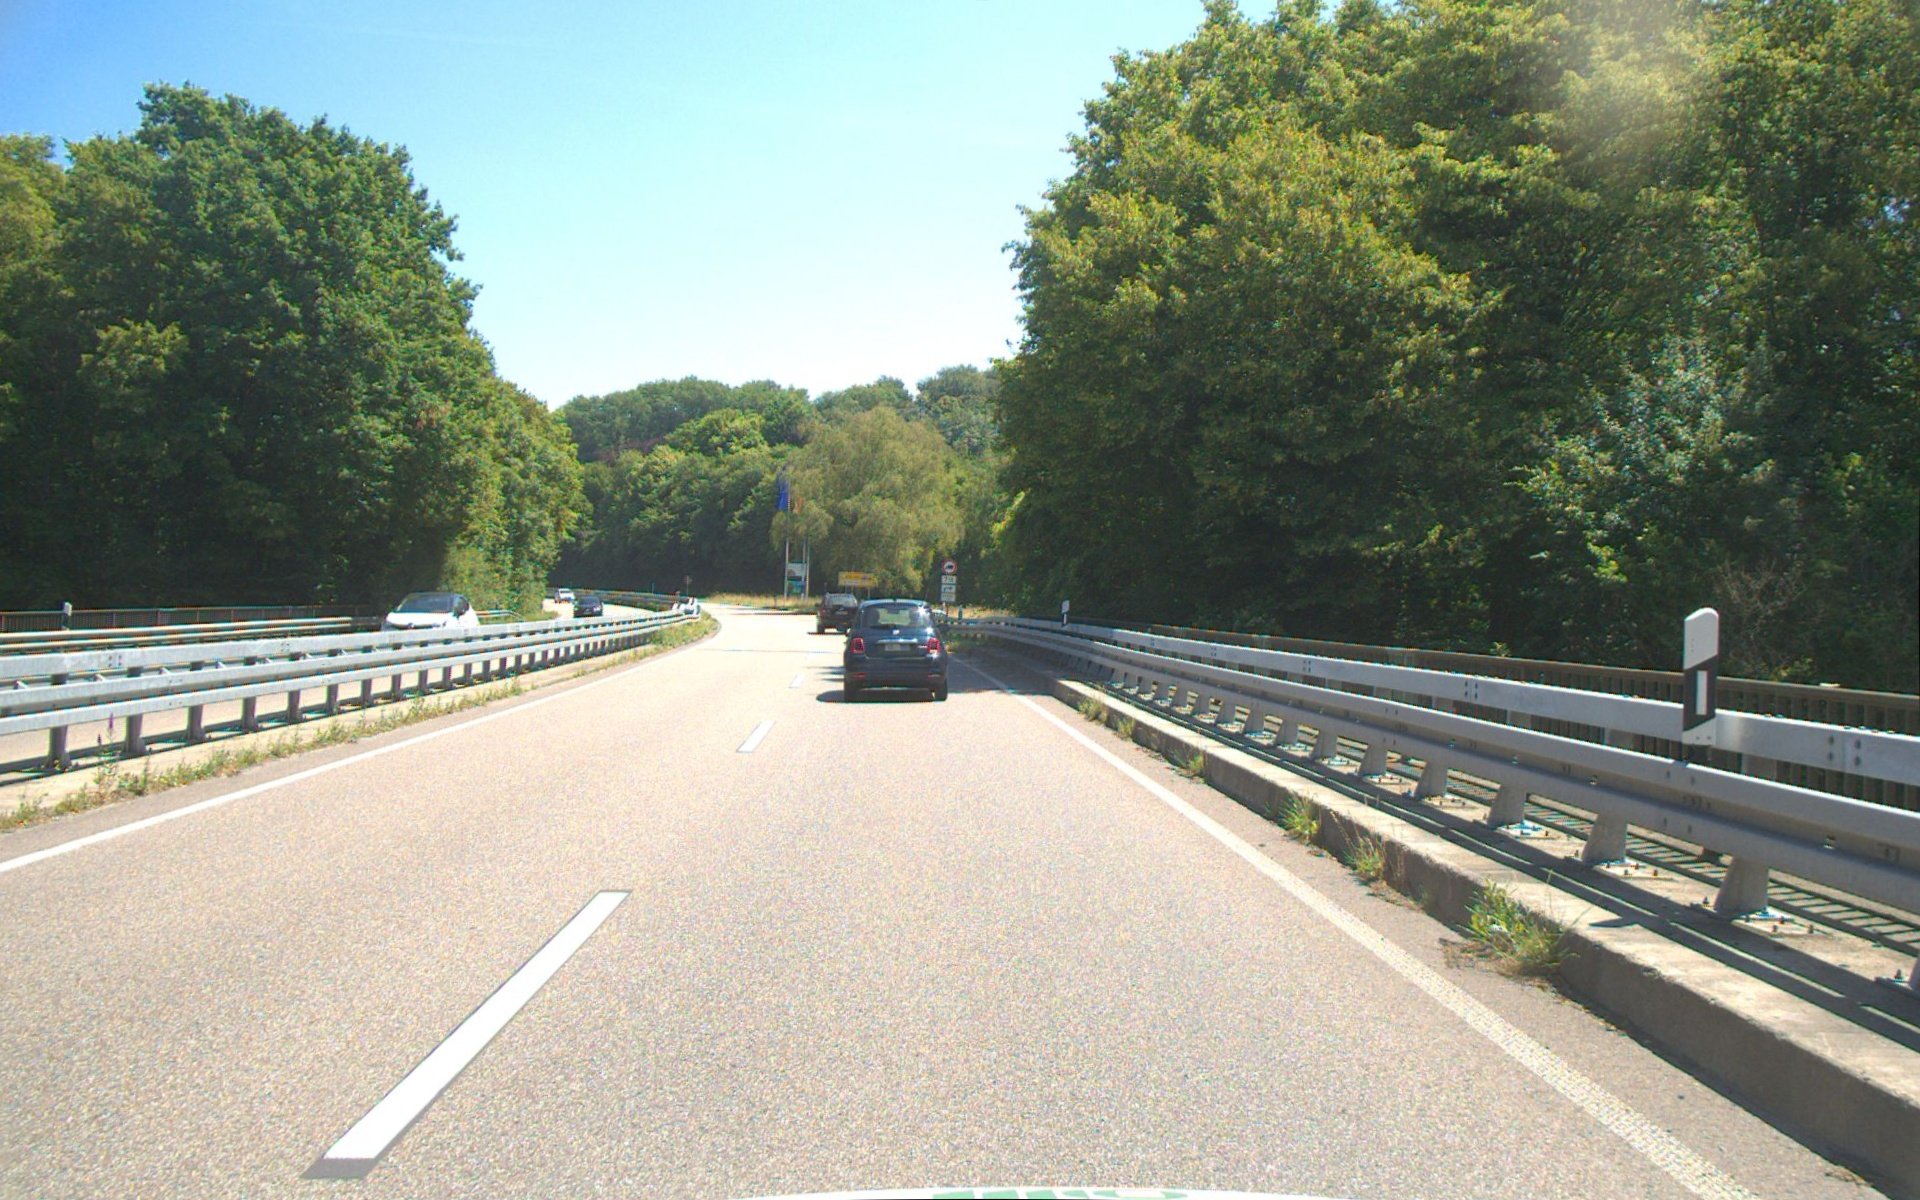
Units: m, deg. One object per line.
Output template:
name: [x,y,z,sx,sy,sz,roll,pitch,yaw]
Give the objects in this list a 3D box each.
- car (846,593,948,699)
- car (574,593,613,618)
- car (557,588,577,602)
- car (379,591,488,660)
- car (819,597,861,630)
car: [-0.993,0.666,25.991,1.483,1.527,3.588,0,0,-2]
car: [-23.496,0.361,106.181,1.721,1.555,4.680,0,0,-4]
car: [-45.642,-0.613,192.088,1.731,1.600,4.385,0,0,-21]
car: [-13.108,0.594,41.384,1.618,1.634,4.216,0,0,-4]
car: [-5.091,0.561,70.101,1.497,1.336,3.407,0,0,-9]
